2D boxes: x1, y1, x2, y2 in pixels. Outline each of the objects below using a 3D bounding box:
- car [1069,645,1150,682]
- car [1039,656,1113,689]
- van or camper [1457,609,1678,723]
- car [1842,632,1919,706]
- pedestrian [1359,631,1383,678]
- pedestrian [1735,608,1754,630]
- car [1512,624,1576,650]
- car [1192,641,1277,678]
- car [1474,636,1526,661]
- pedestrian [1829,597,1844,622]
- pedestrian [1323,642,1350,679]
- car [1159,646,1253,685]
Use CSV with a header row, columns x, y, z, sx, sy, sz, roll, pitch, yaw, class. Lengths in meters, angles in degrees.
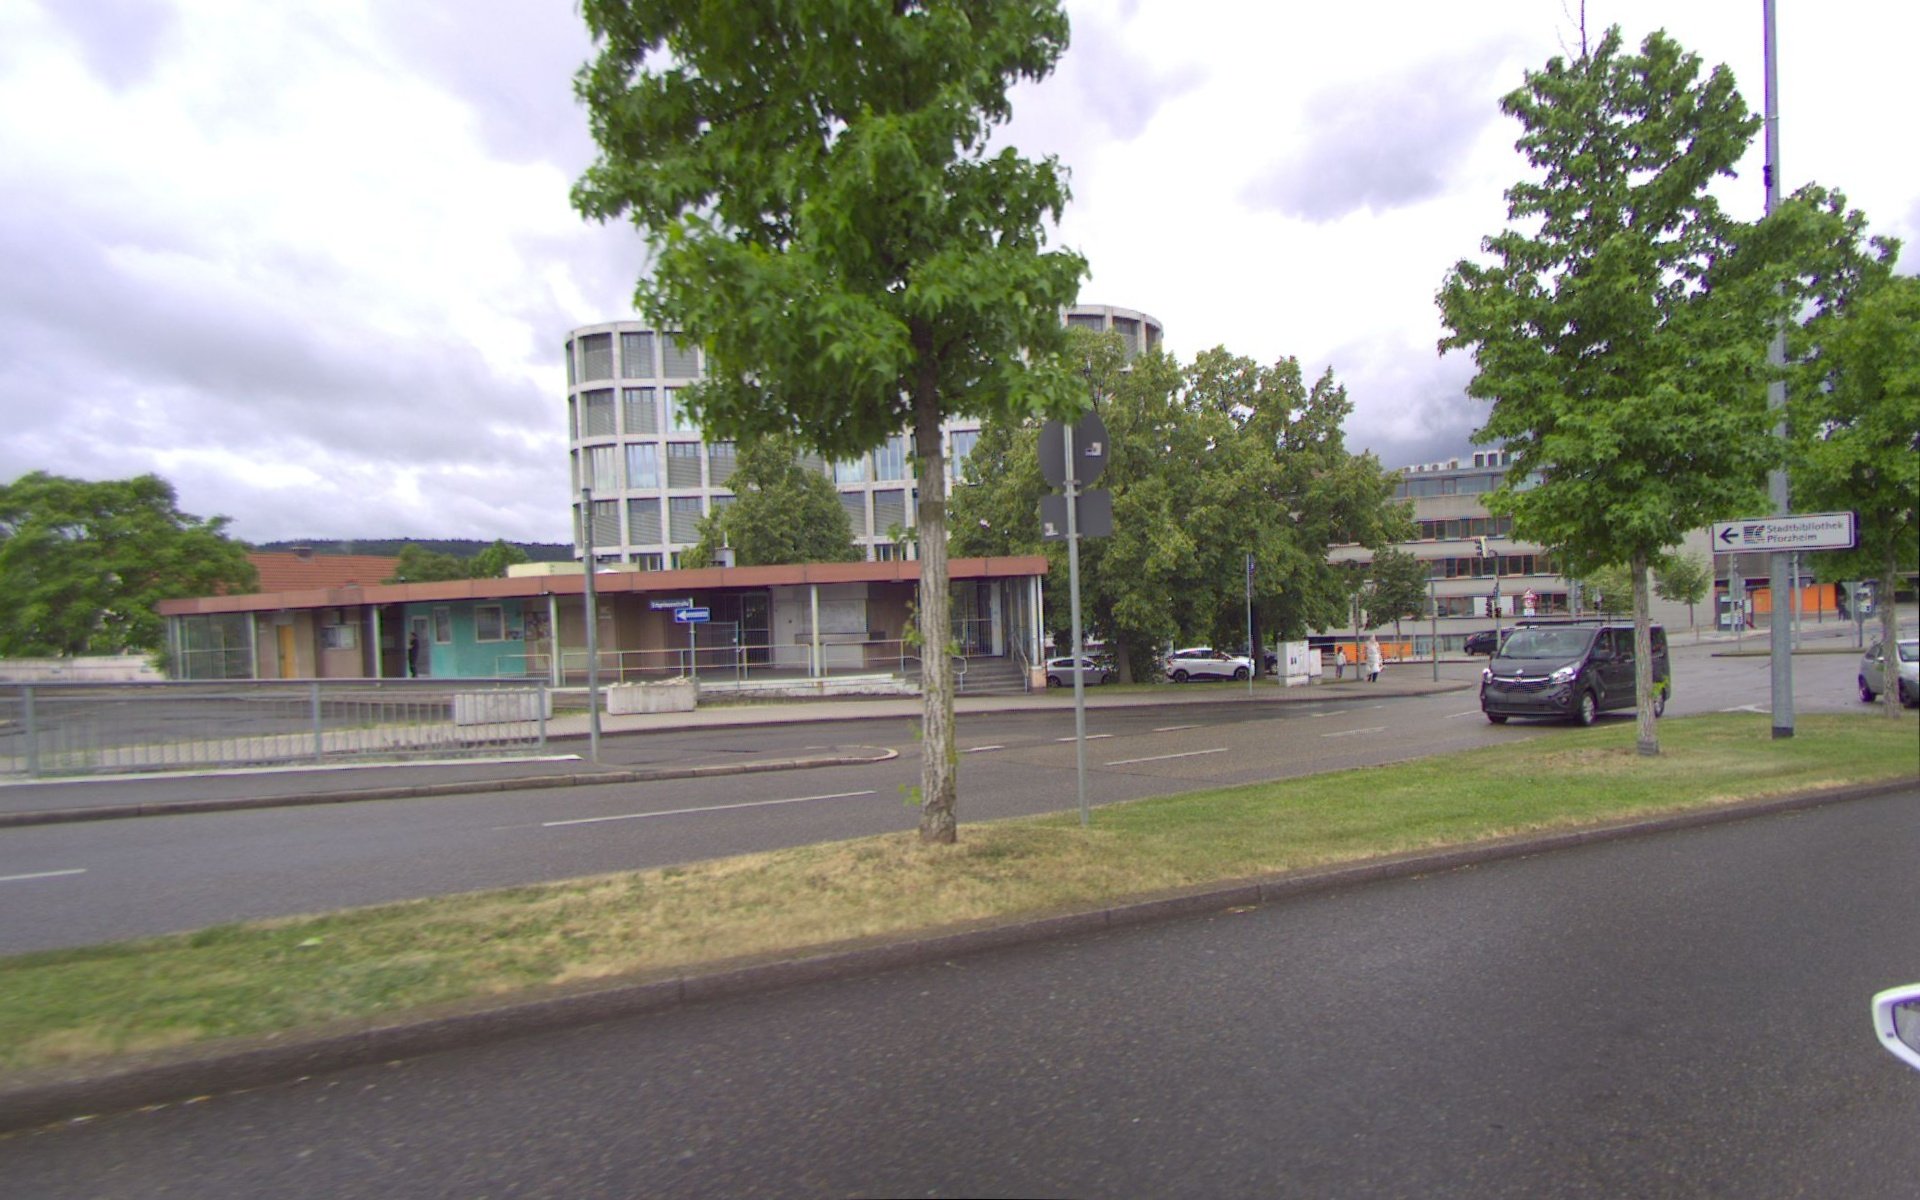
x,y,z,sx,sy,sz,roll,pitch,yaw,class
7.362,3.123,49.387,3.761,1.588,1.729,-3,-1,13,car
5.360,3.324,46.265,3.250,1.313,1.499,-3,-1,12,car
12.716,1.352,20.897,5.237,2.099,2.200,2,-5,-38,van or camper
20.960,1.444,21.884,1.607,1.467,3.872,-3,-3,27,car
14.251,1.894,34.825,0.641,1.590,0.630,-3,-3,27,pedestrian
51.097,1.230,65.424,0.713,1.410,0.675,-2,-1,-31,pedestrian
38.851,2.444,66.841,3.521,1.515,1.629,-3,-1,-14,car
12.983,2.817,47.648,3.761,1.588,1.729,-3,-1,13,car
33.179,2.964,61.803,1.453,1.368,3.584,-2,-1,5,car
62.080,0.671,71.131,0.752,1.706,0.473,-2,-1,-23,pedestrian
13.442,2.166,35.846,0.626,1.309,0.646,1,-4,-42,pedestrian
11.088,2.945,45.238,3.975,1.528,1.729,-3,-1,15,car
